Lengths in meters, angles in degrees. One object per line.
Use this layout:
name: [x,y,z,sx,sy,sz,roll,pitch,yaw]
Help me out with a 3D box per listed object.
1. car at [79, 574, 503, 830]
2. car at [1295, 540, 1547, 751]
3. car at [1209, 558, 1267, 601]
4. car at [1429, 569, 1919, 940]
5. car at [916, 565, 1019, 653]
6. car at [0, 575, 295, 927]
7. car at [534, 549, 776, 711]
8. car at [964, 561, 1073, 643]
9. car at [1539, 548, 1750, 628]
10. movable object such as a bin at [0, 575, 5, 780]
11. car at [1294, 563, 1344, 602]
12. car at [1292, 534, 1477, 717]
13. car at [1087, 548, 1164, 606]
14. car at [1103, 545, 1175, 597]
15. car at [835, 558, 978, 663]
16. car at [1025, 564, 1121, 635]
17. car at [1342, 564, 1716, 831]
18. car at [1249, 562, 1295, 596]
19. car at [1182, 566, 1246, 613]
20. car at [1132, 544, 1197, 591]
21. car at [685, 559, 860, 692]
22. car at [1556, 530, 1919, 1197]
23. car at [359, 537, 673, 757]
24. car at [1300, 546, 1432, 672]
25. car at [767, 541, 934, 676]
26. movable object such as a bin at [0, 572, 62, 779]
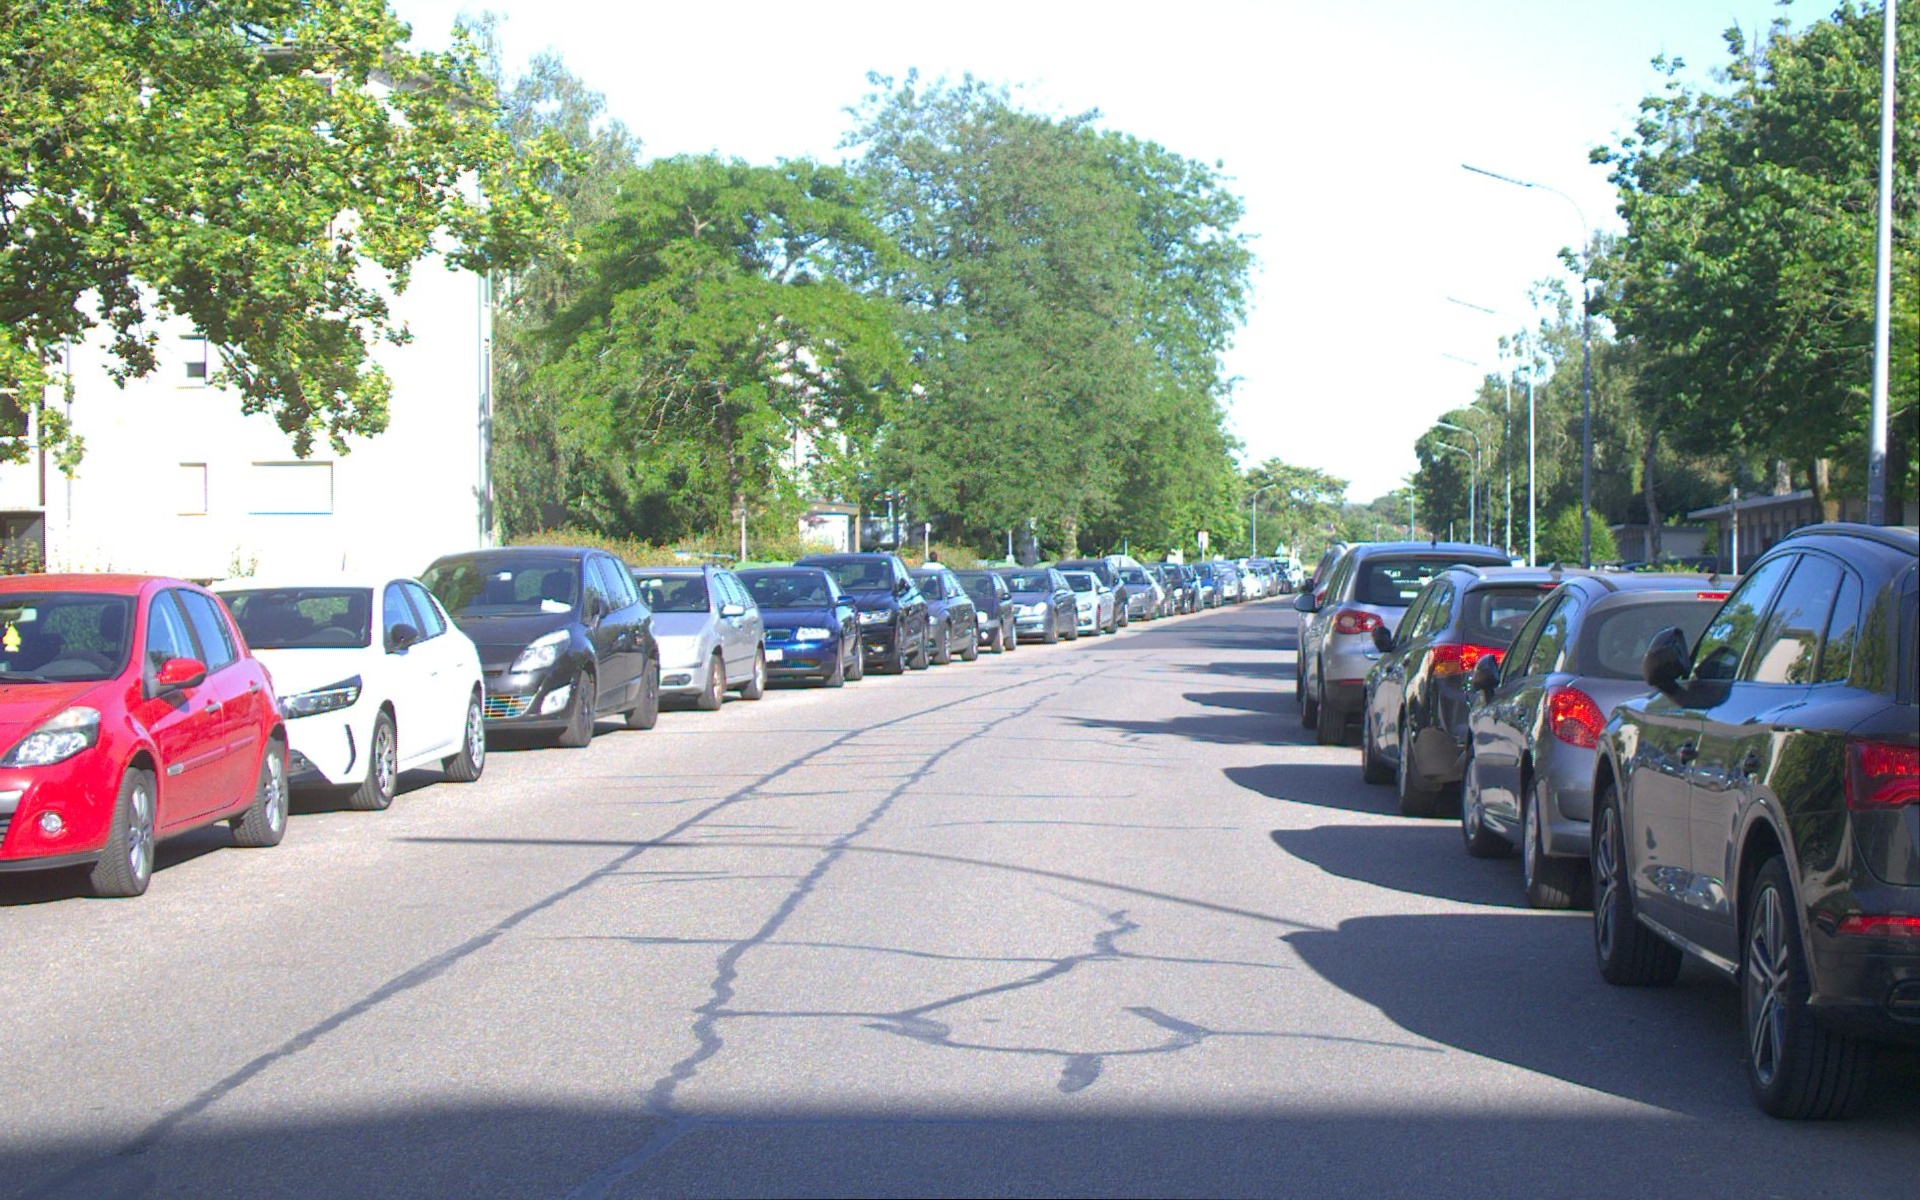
car: [-4.169,0.583,22.024,1.670,1.416,3.901,-1,1,4]
car: [3.787,0.317,28.819,1.730,1.613,4.233,1,1,3]
car: [10.547,-0.780,130.296,1.825,1.461,4.232,1,2,9]
car: [3.299,0.629,16.311,1.684,1.482,3.824,2,1,2]
car: [0.147,0.139,59.371,1.389,1.408,3.124,-2,1,7]
car: [-4.487,0.655,16.633,1.670,1.469,3.678,-2,1,2]
car: [-3.048,0.258,35.070,1.660,1.481,4.052,-2,1,6]
car: [1.155,0.018,66.283,1.510,1.446,3.689,-2,1,10]
car: [14.242,-0.265,71.749,4.221,1.588,1.830,1,1,9]
movable object such as a bin: [-7.138,0.556,23.207,0.988,1.414,1.315,-1,2,0]
car: [13.653,-0.678,130.692,1.825,1.320,4.233,1,2,7]
car: [4.185,0.201,34.373,1.653,1.693,4.233,1,1,5]
car: [4.272,-0.604,88.407,1.510,1.377,3.466,-2,1,10]
car: [4.919,-0.817,94.313,1.510,1.324,3.466,-2,1,10]
car: [-0.772,0.130,51.612,1.660,1.434,3.759,-2,1,6]
car: [2.394,-0.029,72.296,1.510,1.359,3.466,-2,1,10]
car: [3.467,0.532,21.655,1.682,1.451,4.291,1,1,1]
car: [14.653,-0.991,161.181,1.825,1.461,4.232,1,2,9]
car: [8.878,-0.396,120.072,1.825,1.461,4.232,1,2,9]
car: [6.143,-0.981,103.156,1.510,1.324,3.466,-2,1,10]
car: [-2.174,0.267,40.761,1.660,1.421,4.049,-2,1,2]
car: [3.130,0.631,10.766,1.810,1.658,4.462,1,1,1]
car: [-3.628,0.323,28.870,1.670,1.661,4.405,-2,1,5]
car: [5.579,0.086,47.218,1.698,1.636,4.232,1,1,7]
car: [-1.431,0.078,46.352,1.660,1.682,4.048,-2,1,6]
movable object such as a bin: [-7.112,0.525,24.576,0.988,1.414,1.314,-1,2,2]
